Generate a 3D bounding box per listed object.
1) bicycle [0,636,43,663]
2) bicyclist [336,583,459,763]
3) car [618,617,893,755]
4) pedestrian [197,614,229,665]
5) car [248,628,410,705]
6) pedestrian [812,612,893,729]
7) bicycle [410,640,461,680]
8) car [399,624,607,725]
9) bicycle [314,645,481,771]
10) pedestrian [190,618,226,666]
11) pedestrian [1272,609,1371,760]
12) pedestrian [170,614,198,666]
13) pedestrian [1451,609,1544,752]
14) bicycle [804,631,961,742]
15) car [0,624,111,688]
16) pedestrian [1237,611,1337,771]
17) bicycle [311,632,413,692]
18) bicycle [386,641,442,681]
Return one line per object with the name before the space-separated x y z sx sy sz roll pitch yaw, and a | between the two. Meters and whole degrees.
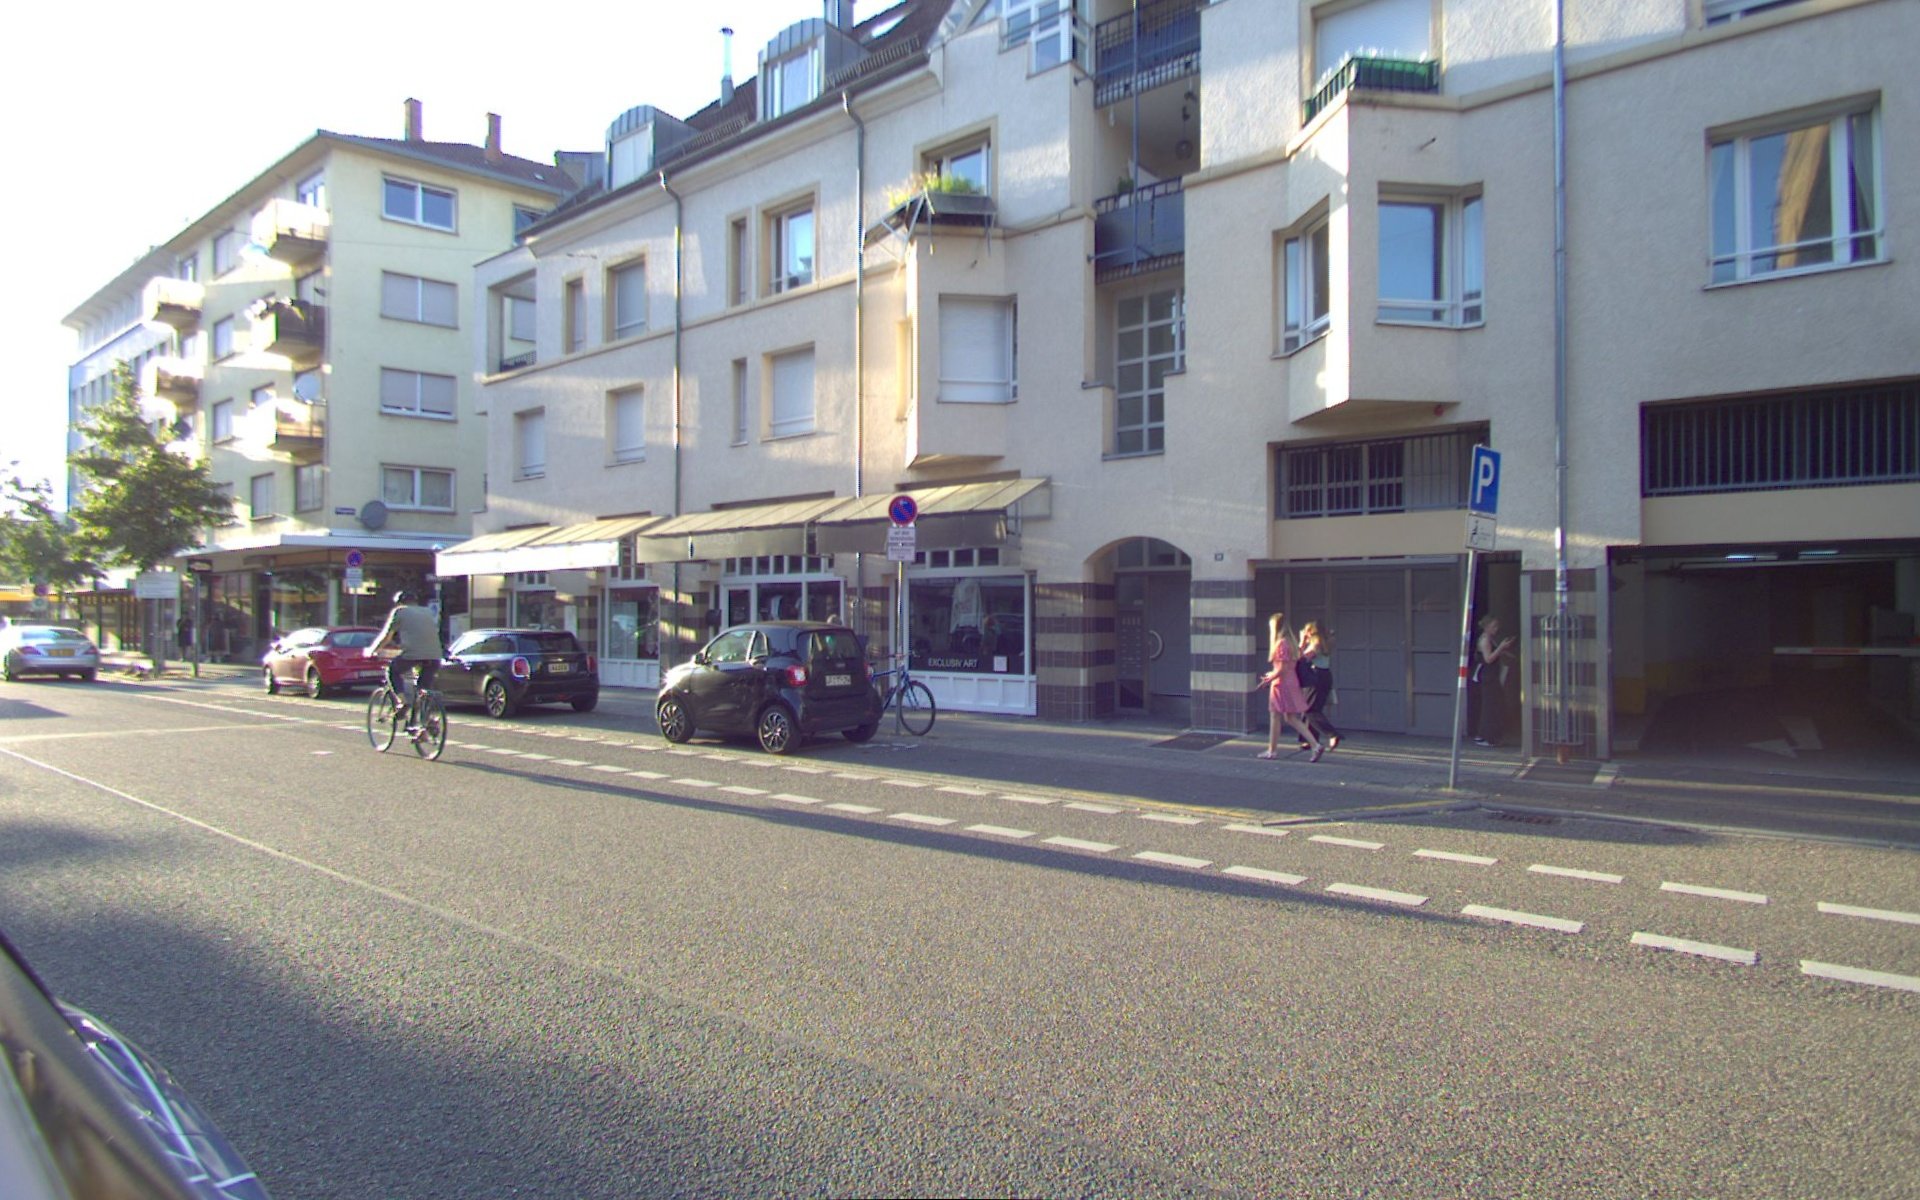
bicycle | -38.747 2.026 41.231 0.490 0.999 1.993 -1 0 33
bicyclist | -6.084 0.759 10.951 1.005 1.843 0.774 -1 -2 35
car | -2.657 1.009 13.032 3.181 1.547 1.776 -1 -2 35
pedestrian | -27.107 1.439 36.713 0.813 1.833 0.733 -2 -3 39
car | -13.373 1.336 21.392 3.877 1.413 1.645 0 0 37
pedestrian | -1.599 1.016 15.036 0.949 1.654 0.710 -1 0 35
bicycle | -14.297 1.612 27.562 2.014 0.999 0.485 0 0 39
car | -7.860 1.187 17.296 3.719 1.464 1.695 0 0 38
bicycle | -6.117 1.111 10.974 2.016 1.213 0.774 -1 -2 35
pedestrian | -26.622 1.474 35.835 0.757 1.689 0.744 0 -1 -10
pedestrian | 4.170 0.933 11.674 0.855 1.654 0.709 -1 0 42
pedestrian | -28.441 1.466 37.092 0.758 1.862 0.744 1 -3 -43
pedestrian | 6.442 0.924 12.123 0.854 1.628 0.709 -1 0 40
bicycle | -1.106 1.141 13.976 2.355 1.385 0.605 -1 0 37
car | -24.345 1.440 26.728 4.503 1.523 1.975 0 -4 38
pedestrian | 3.575 0.951 11.061 0.853 1.654 0.710 -1 0 36
bicycle | -14.443 1.456 24.412 3.120 1.310 0.950 0 0 36
bicycle | -14.672 1.618 27.162 2.012 0.999 0.485 -1 0 36
